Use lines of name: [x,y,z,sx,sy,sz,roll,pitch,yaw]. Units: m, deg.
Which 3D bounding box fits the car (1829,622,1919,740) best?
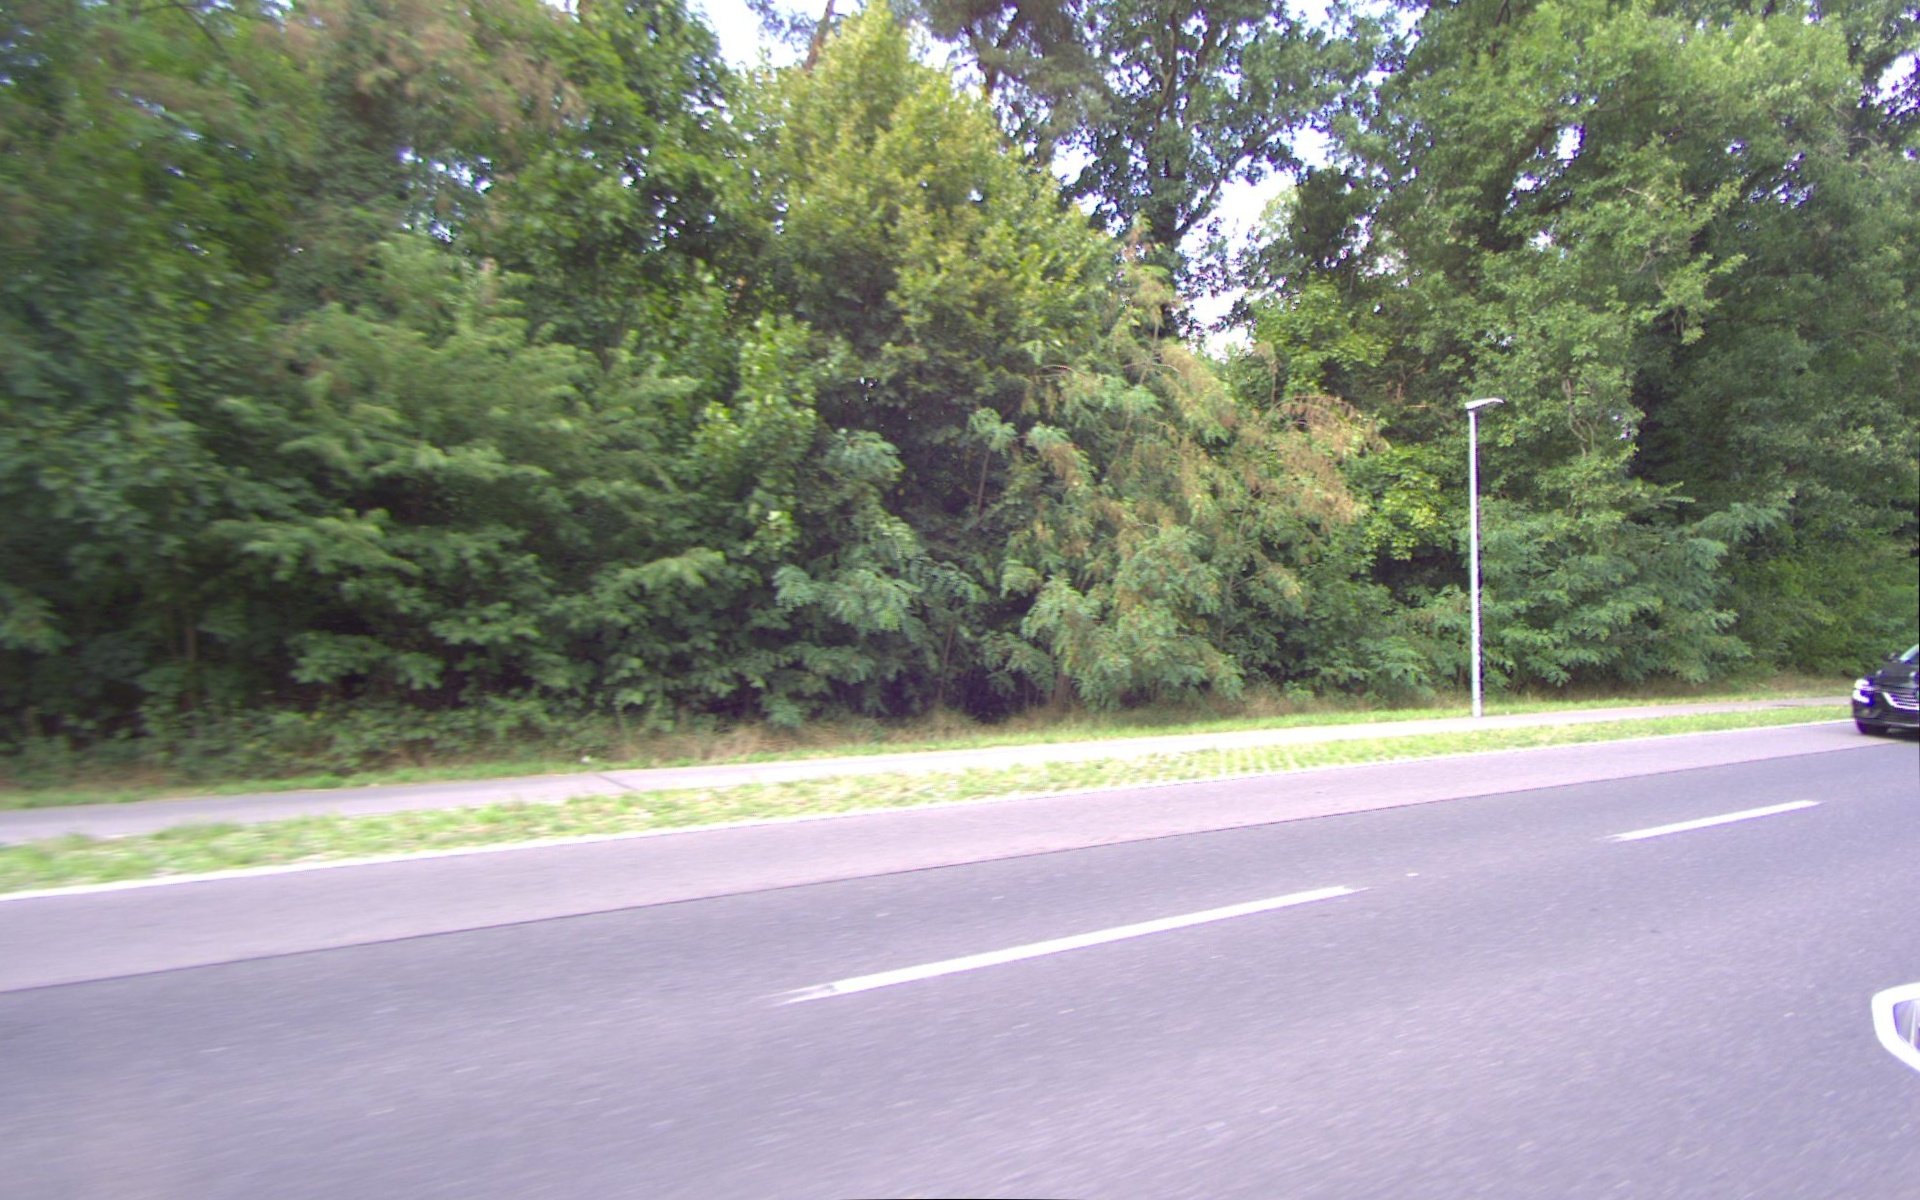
car: [14.116,1.129,13.878,4.353,1.462,1.872,2,0,-31]
